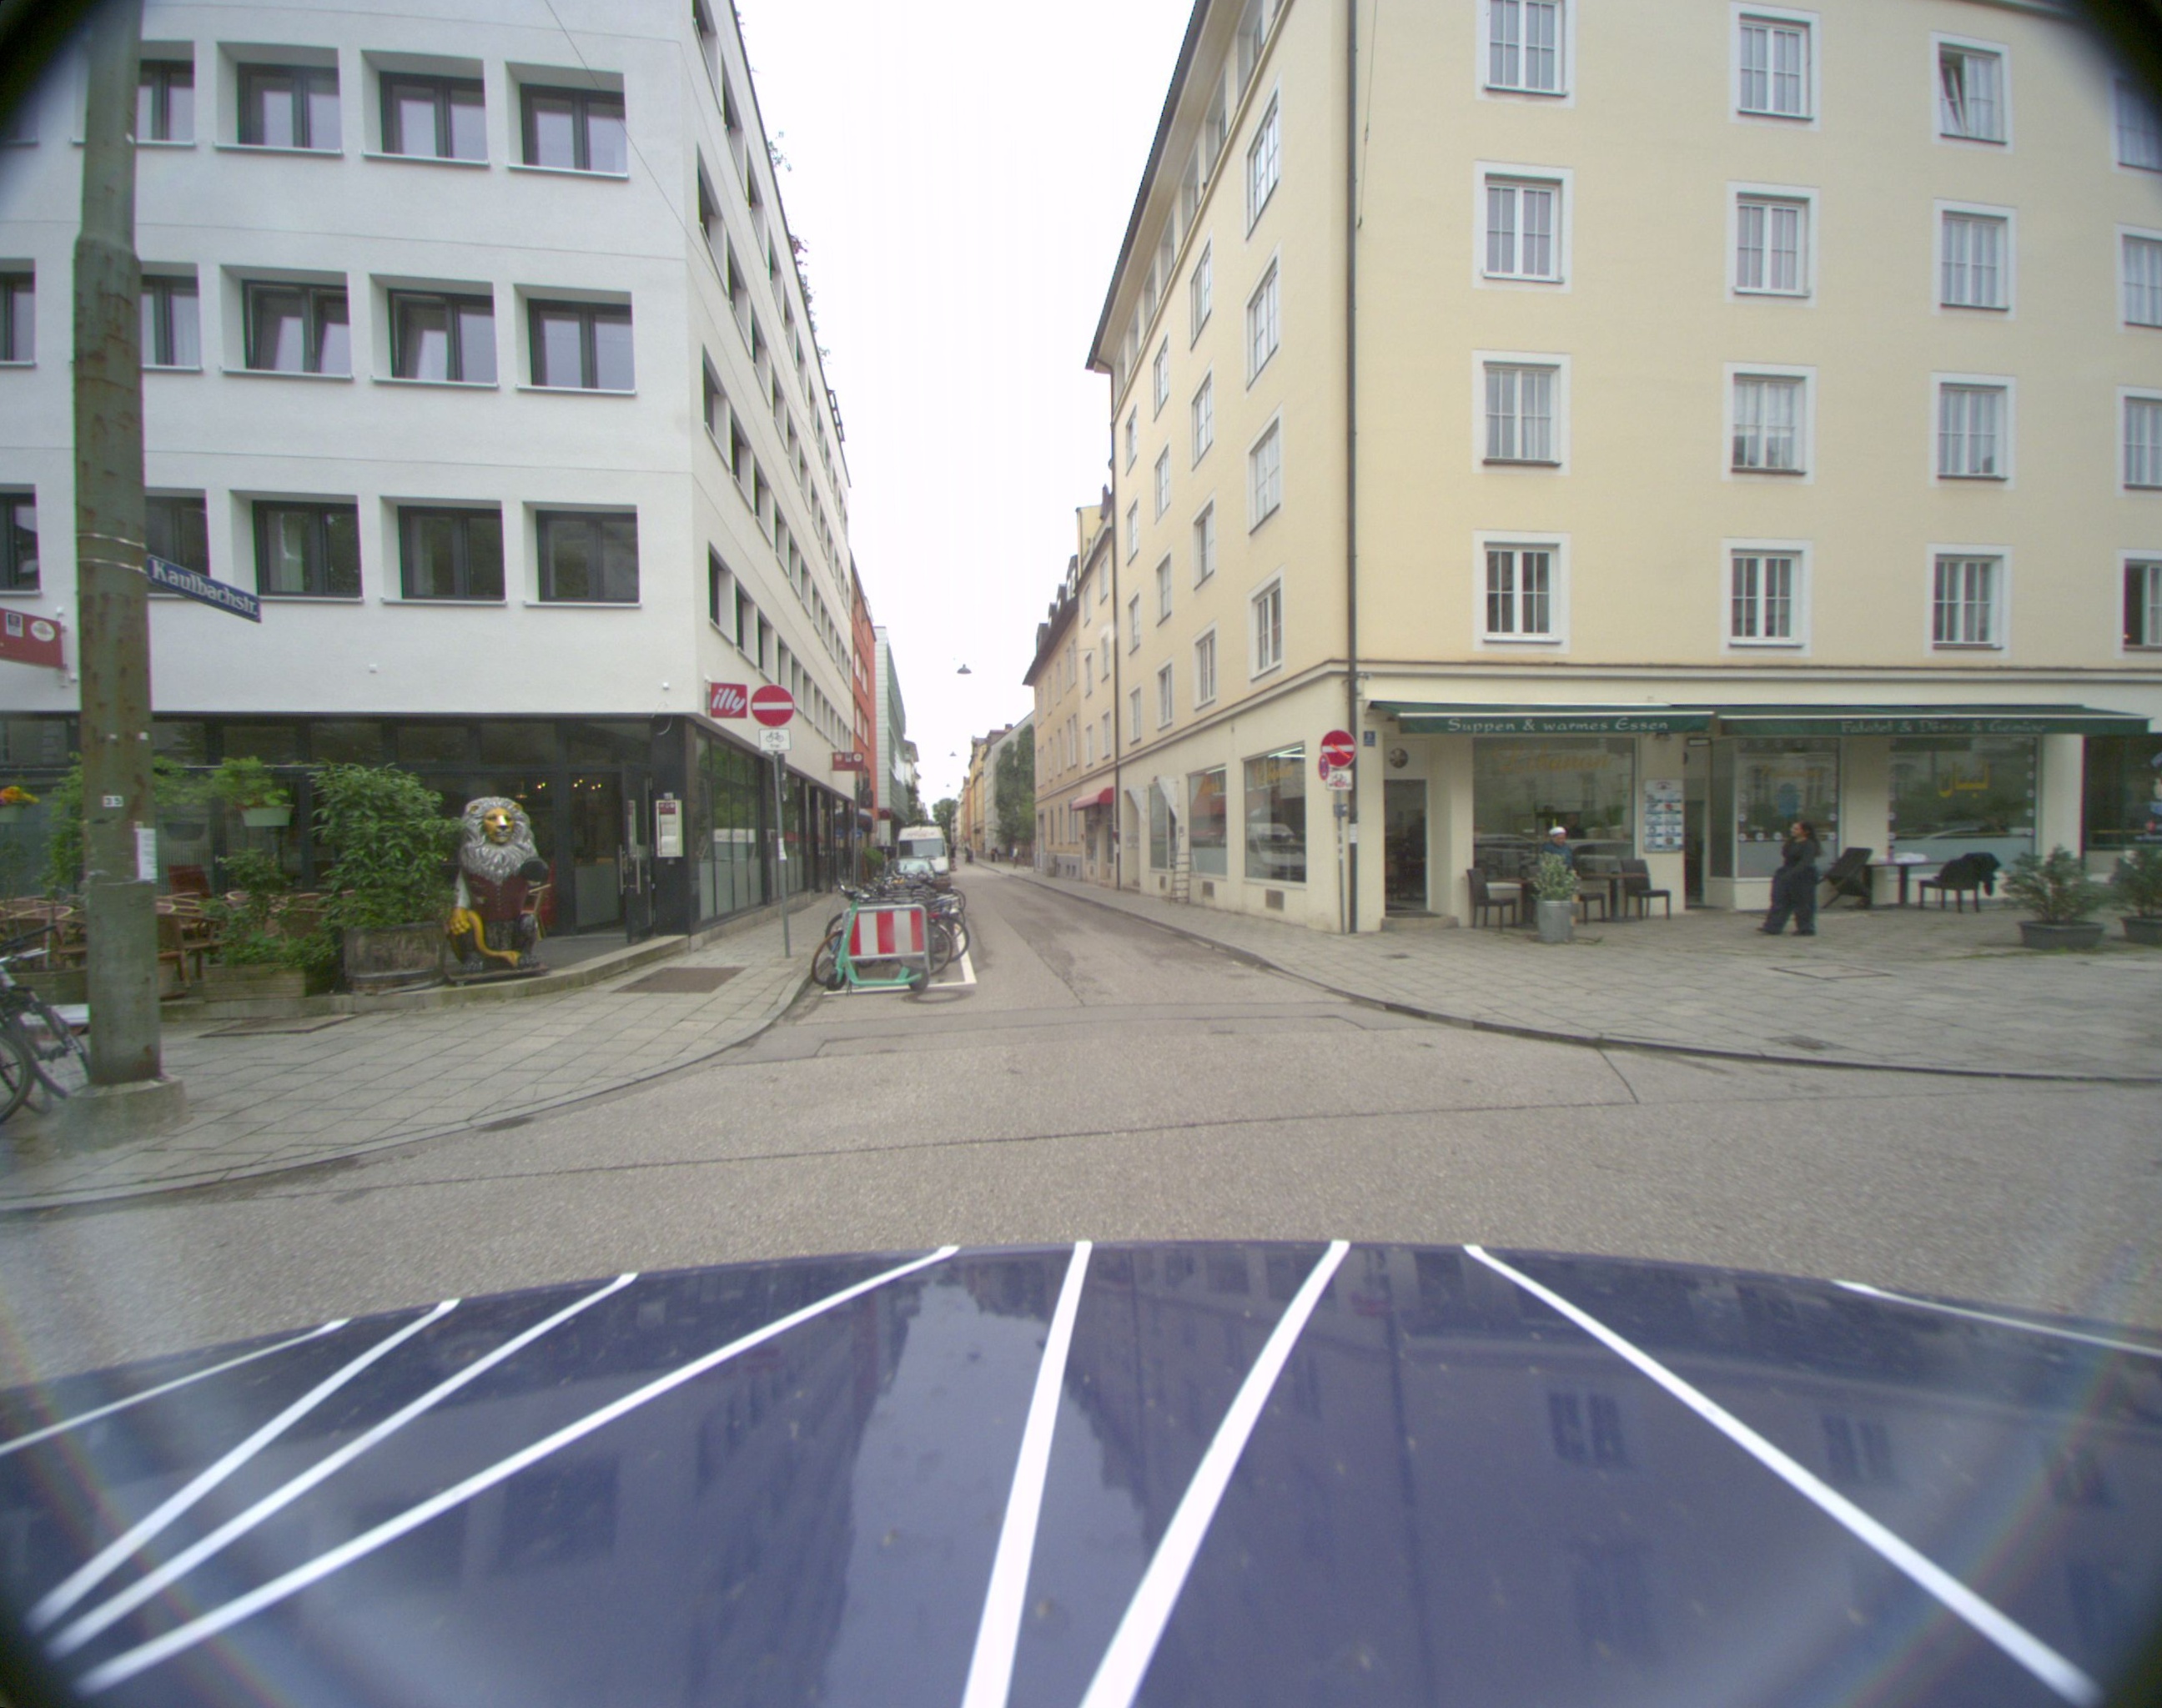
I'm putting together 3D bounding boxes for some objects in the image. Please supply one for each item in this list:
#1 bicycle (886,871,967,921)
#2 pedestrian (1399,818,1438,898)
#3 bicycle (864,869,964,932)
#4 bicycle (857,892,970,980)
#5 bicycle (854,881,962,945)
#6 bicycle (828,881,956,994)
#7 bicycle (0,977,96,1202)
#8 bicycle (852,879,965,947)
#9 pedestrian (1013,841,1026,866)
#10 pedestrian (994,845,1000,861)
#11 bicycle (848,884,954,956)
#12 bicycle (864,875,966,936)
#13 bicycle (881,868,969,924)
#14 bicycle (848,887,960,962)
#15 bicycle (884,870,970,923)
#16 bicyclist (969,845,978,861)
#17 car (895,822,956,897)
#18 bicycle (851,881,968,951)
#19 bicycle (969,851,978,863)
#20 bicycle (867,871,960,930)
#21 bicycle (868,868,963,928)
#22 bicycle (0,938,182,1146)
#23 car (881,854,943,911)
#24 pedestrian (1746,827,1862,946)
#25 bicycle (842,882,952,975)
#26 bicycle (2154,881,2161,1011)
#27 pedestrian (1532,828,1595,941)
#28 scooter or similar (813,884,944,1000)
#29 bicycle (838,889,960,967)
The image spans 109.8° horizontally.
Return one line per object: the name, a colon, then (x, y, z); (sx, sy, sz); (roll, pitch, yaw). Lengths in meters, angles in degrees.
bicycle: (-3.801, 1.030, 18.749); (1.880, 1.073, 0.488); (-3, 1, -12)
pedestrian: (7.488, 0.080, 16.892); (0.757, 1.715, 0.771); (1, 2, 22)
bicycle: (-3.324, 0.909, 15.174); (1.900, 1.163, 0.565); (-1, 1, -13)
bicycle: (-2.299, 1.103, 10.432); (1.457, 1.063, 0.462); (-2, 1, -18)
bicycle: (-3.160, 1.056, 13.942); (1.880, 1.046, 0.563); (-1, 3, -14)
bicycle: (-2.305, 1.007, 9.404); (1.461, 1.278, 0.445); (-2, 1, -9)
bicycle: (-6.180, 1.269, 4.089); (1.181, 1.121, 0.339); (-1, 2, -4)
bicycle: (-2.998, 1.009, 13.261); (1.880, 1.073, 0.402); (-1, 0, -13)
pedestrian: (-4.760, -0.041, 58.374); (0.861, 1.834, 0.973); (-2, 2, -9)
pedestrian: (-8.968, -0.097, 81.231); (0.554, 1.650, 0.996); (-1, 2, -11)
bicycle: (-2.922, 1.053, 12.384); (1.618, 1.073, 0.377); (-1, 0, -13)
bicycle: (-3.190, 0.976, 14.648); (1.880, 1.089, 0.439); (-1, 0, -13)
bicycle: (-3.523, 0.936, 17.212); (1.880, 1.197, 0.488); (-1, 0, -12)
bicycle: (-2.784, 1.097, 12.018); (1.680, 1.073, 0.336); (-1, 0, -13)
bicycle: (-3.587, 0.983, 17.729); (1.880, 1.101, 0.488); (-3, 1, -12)
bicyclist: (-11.236, -0.090, 79.422); (0.929, 1.711, 1.098); (0, 1, -10)
car: (-5.902, 0.163, 29.039); (1.927, 2.492, 5.990); (-3, 1, -11)
bicycle: (-2.883, 1.025, 12.837); (1.880, 1.073, 0.408); (-1, 0, -13)
bicycle: (-11.301, 0.326, 79.796); (0.935, 1.250, 2.411); (0, 1, -10)
bicycle: (-3.622, 0.988, 16.502); (1.880, 1.150, 0.564); (-3, 1, -12)
bicycle: (-3.426, 0.897, 15.793); (1.880, 1.197, 0.579); (0, 1, -12)
bicycle: (-6.846, 1.134, 4.598); (1.907, 1.121, 0.591); (-1, 1, -5)
car: (-4.869, 0.752, 22.089); (1.586, 1.456, 3.547); (-1, 1, -11)
pedestrian: (9.870, 0.415, 10.402); (0.852, 1.543, 0.748); (-2, 4, -8)
bicycle: (-2.616, 1.038, 10.832); (1.457, 1.201, 0.395); (-2, 2, -18)
bicycle: (10.383, 0.838, 6.159); (1.830, 1.163, 0.610); (0, 3, 31)
pedestrian: (7.194, 0.435, 11.340); (0.606, 1.632, 0.537); (-2, 2, -22)
scooter or similar: (-2.265, 0.973, 8.602); (1.357, 1.203, 0.417); (-1, 2, -8)
bicycle: (-2.766, 1.106, 11.602); (1.746, 1.073, 0.451); (-1, 0, -13)
